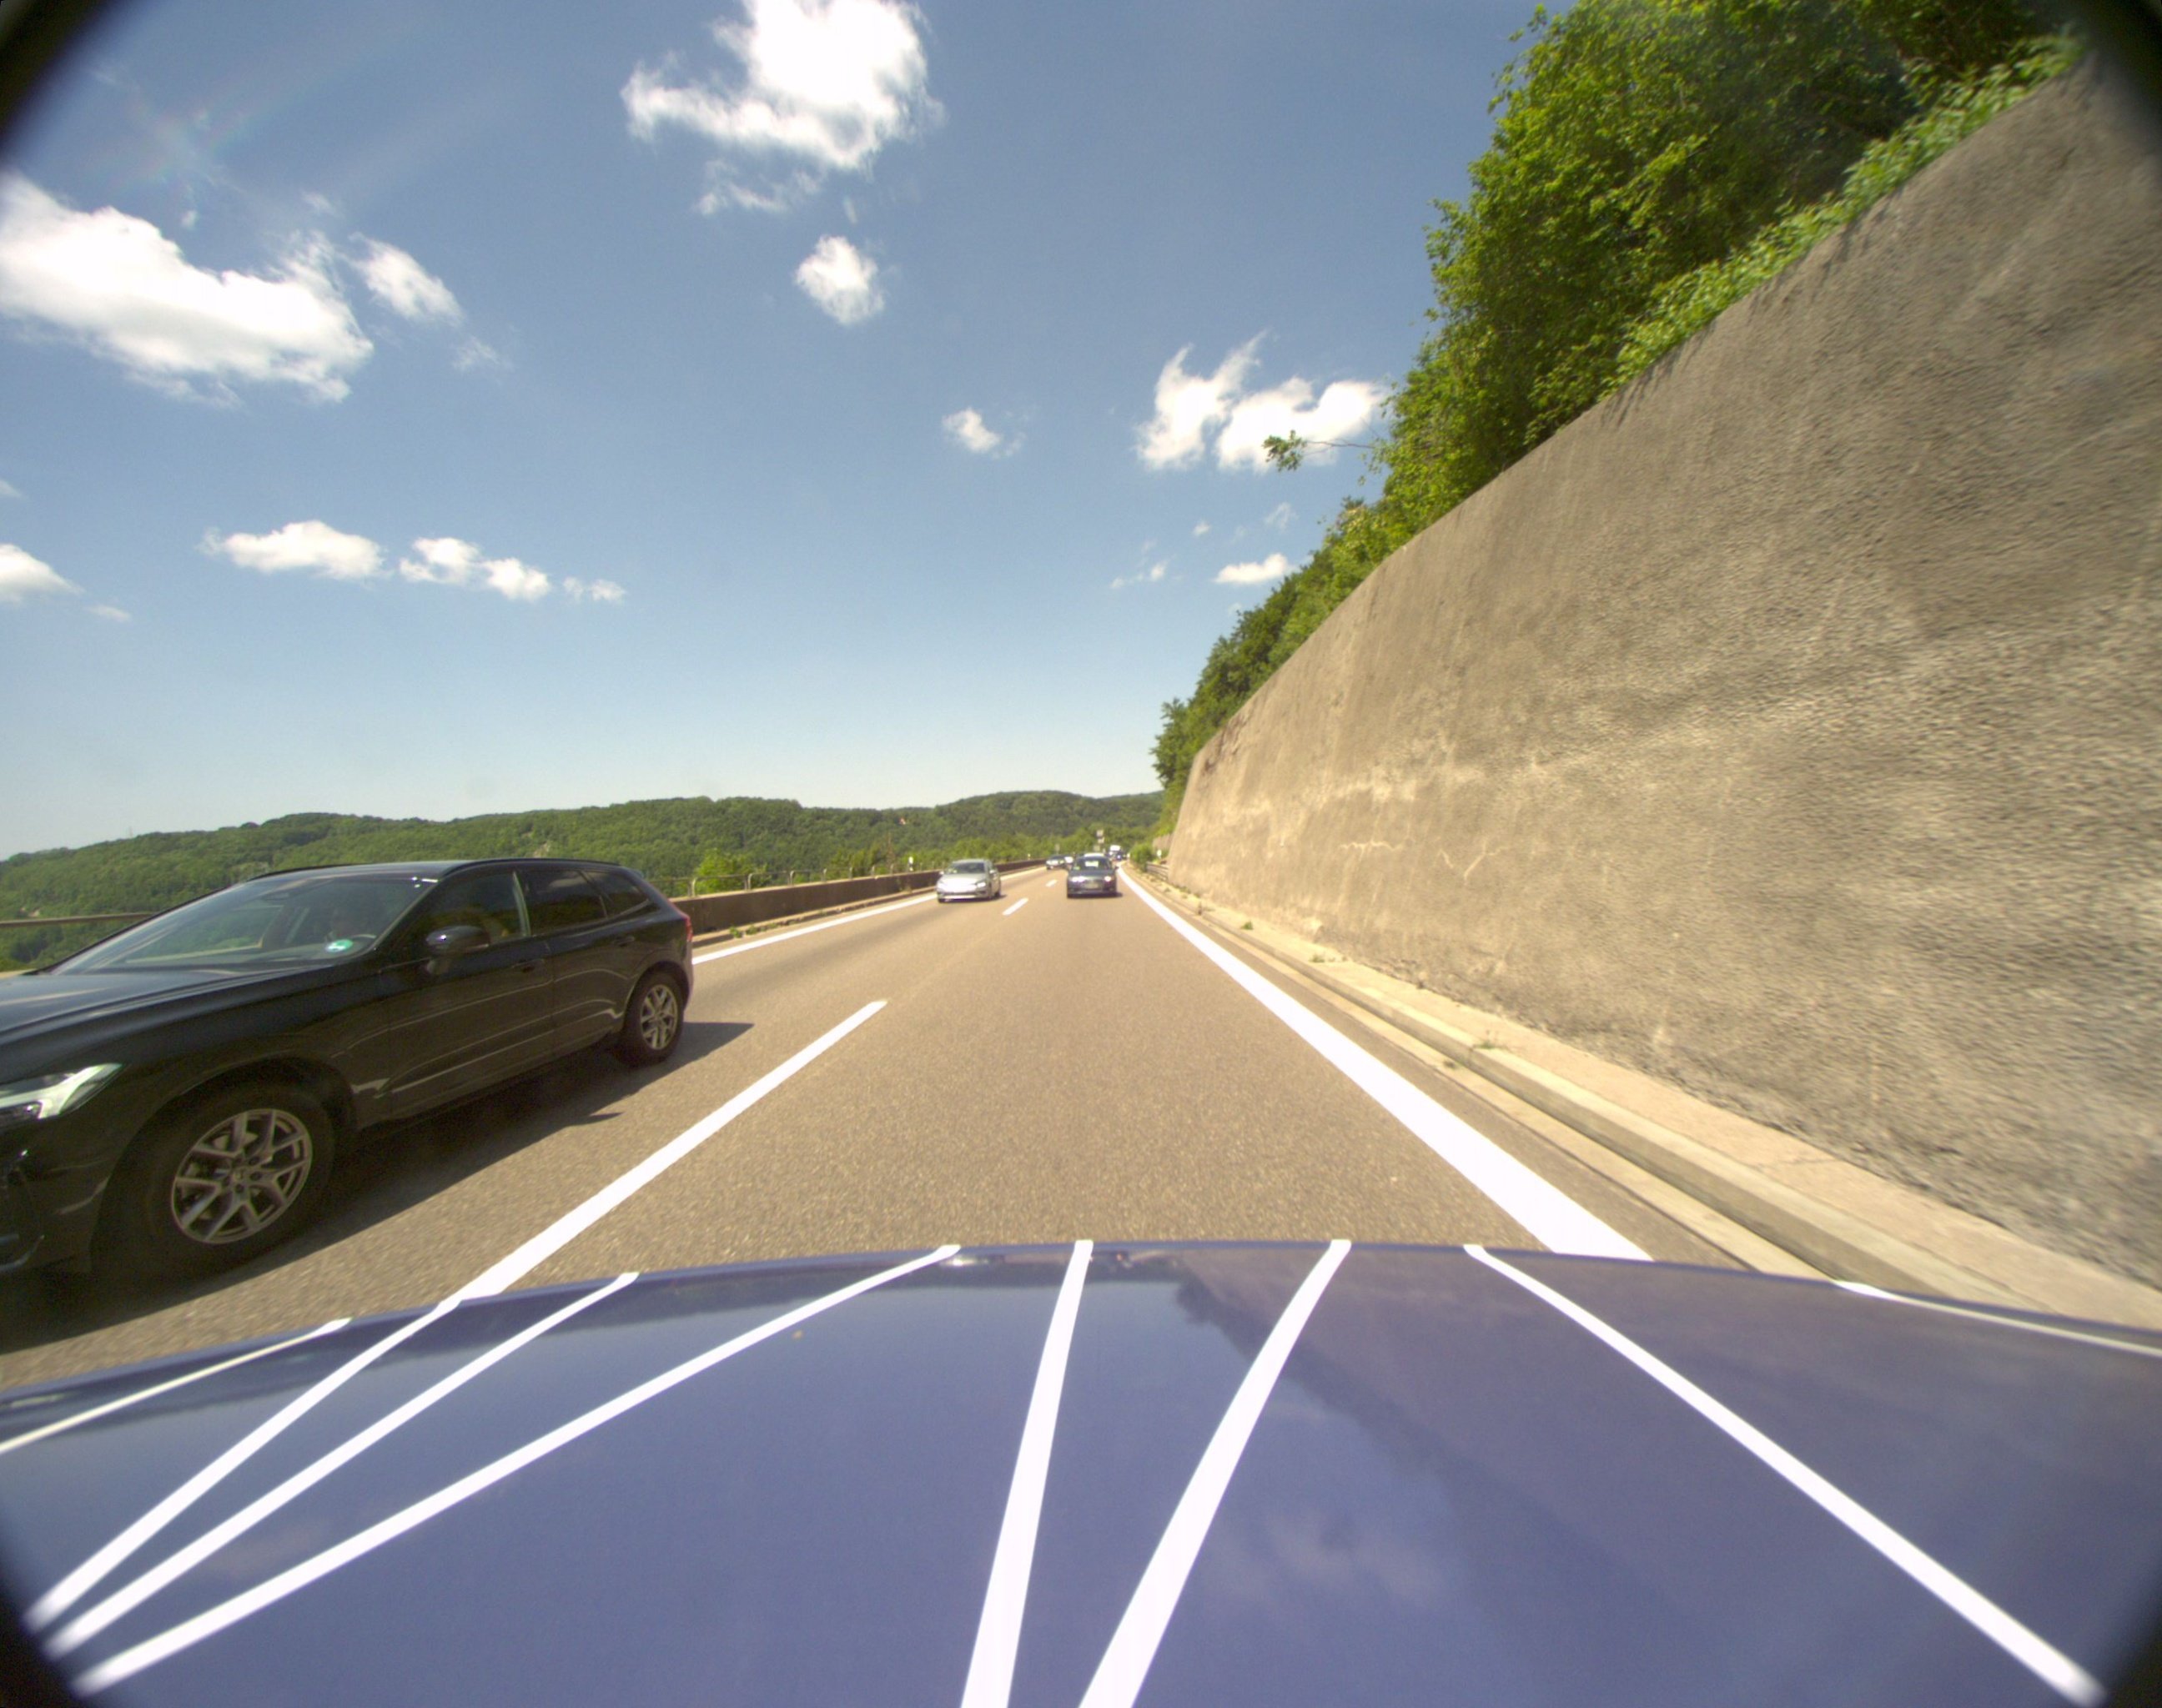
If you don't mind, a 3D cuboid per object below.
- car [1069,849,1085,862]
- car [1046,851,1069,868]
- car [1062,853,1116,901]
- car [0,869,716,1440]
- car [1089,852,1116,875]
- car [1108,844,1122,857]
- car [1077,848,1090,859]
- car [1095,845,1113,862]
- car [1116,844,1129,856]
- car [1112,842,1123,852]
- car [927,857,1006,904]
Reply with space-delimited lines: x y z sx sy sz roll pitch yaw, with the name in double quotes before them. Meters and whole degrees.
"car" -0.493 0.226 96.233 1.775 1.565 4.001 -2 0 4
"car" -2.315 0.524 75.593 1.875 1.565 4.001 -1 1 4
"car" 0.359 0.725 26.334 1.669 1.415 4.044 -1 1 3
"car" -4.205 0.988 4.377 1.839 1.624 4.662 -2 0 1
"car" 1.458 0.586 50.980 1.703 1.432 4.044 0 1 3
"car" 5.603 -0.581 124.498 1.997 2.002 4.001 -2 1 6
"car" 0.391 -0.102 113.776 1.775 1.565 4.001 -2 0 4
"car" 2.811 -0.074 91.387 1.998 2.002 4.001 -1 0 3
"car" 7.425 -0.751 134.696 1.997 2.002 4.002 -2 1 7
"car" 7.963 -1.476 164.947 1.997 2.002 4.003 0 0 8
"car" -3.955 0.877 27.036 1.972 1.370 4.293 -2 1 2
